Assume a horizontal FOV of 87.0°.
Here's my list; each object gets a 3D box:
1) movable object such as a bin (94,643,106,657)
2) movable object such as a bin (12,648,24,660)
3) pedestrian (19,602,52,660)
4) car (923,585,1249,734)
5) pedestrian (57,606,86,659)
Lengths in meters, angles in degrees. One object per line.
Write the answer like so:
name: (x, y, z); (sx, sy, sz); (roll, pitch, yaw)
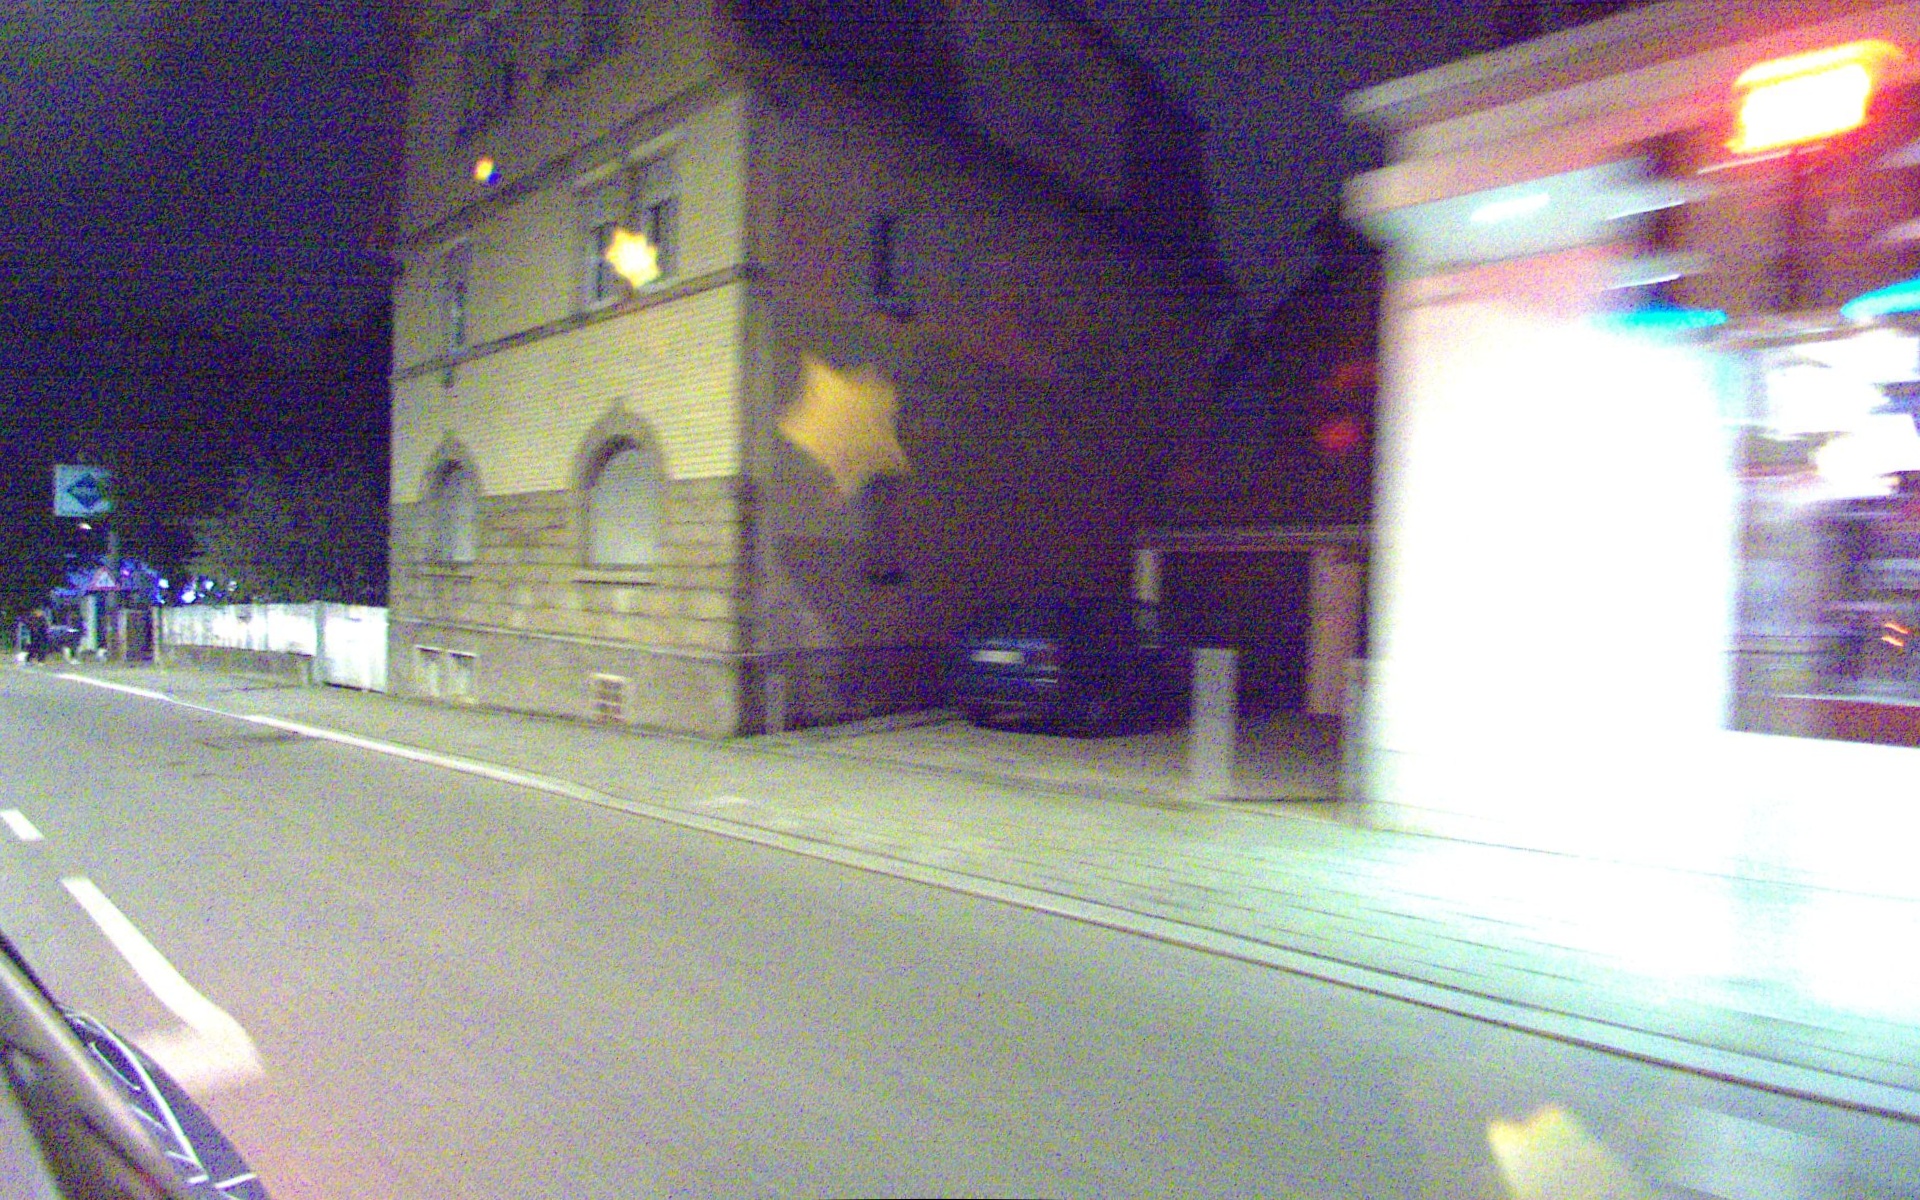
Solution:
movable object such as a bin: (-25.973, 1.516, 30.550); (0.466, 0.410, 0.228); (-1, 0, 44)
movable object such as a bin: (-28.110, 1.609, 30.184); (0.466, 0.354, 0.228); (-1, 0, 44)
pedestrian: (-27.140, 0.905, 29.697); (0.748, 1.654, 0.640); (-1, 0, 44)
car: (1.571, 0.573, 11.420); (1.801, 1.373, 3.946); (-1, -1, 40)
pedestrian: (-26.334, 0.951, 29.990); (0.589, 1.541, 0.554); (-1, 0, 42)
